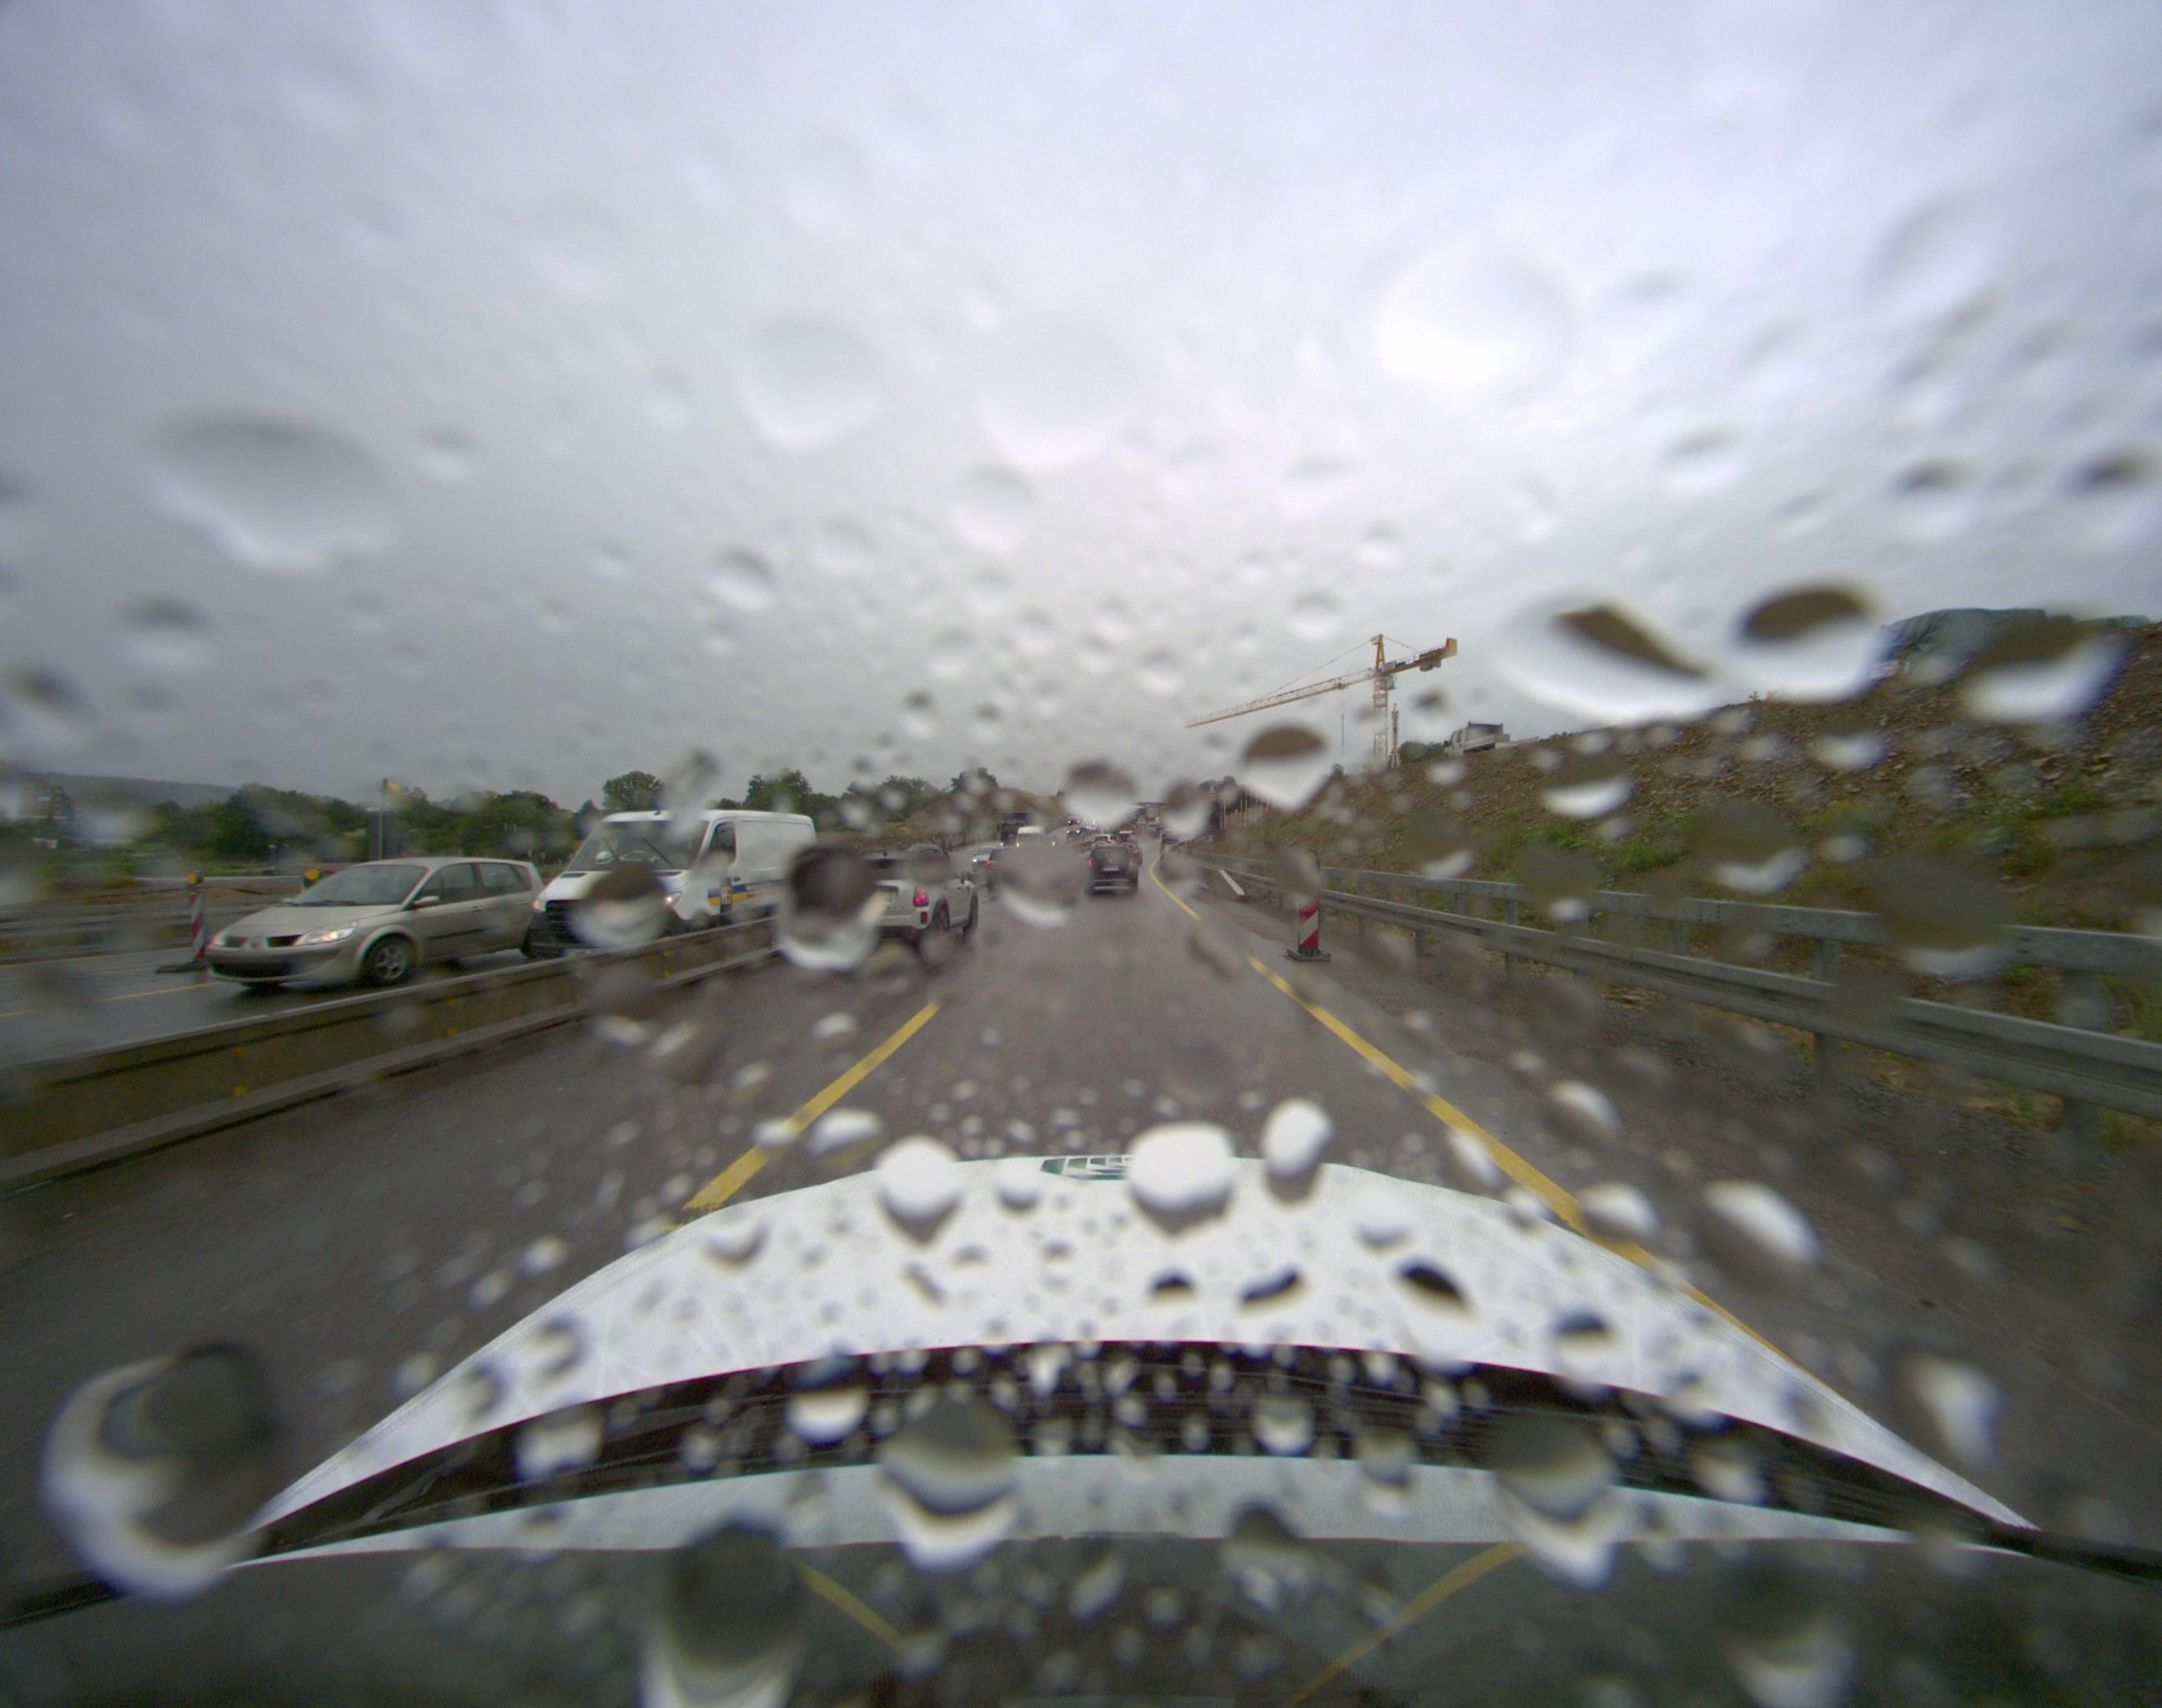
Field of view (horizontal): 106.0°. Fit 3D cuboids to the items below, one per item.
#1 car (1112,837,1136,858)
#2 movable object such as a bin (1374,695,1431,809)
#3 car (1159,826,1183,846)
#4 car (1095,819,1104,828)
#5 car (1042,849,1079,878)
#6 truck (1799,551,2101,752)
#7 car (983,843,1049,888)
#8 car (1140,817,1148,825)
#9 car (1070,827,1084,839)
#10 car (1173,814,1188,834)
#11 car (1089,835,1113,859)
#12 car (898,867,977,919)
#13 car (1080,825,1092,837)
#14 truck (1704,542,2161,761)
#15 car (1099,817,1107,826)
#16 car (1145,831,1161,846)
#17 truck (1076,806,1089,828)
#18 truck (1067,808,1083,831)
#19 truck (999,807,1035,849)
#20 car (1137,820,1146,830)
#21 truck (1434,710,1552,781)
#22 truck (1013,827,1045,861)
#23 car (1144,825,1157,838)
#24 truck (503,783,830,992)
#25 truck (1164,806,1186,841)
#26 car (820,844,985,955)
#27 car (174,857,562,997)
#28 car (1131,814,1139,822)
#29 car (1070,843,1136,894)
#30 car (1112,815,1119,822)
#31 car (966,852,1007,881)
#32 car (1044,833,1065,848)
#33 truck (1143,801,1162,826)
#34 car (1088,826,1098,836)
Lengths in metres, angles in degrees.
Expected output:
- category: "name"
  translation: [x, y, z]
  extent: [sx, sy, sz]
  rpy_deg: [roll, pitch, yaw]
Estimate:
- category: "car"
  translation: [4.616, -0.694, 86.990]
  extent: [1.981, 2.163, 4.152]
  rpy_deg: [-1, -1, 10]
- category: "movable object such as a bin"
  translation: [34.852, -10.752, 88.783]
  extent: [4.682, 10.842, 10.348]
  rpy_deg: [-1, -1, 17]
- category: "car"
  translation: [10.240, -1.999, 92.086]
  extent: [1.978, 2.163, 4.158]
  rpy_deg: [-1, -1, 16]
- category: "car"
  translation: [5.266, -8.677, 229.514]
  extent: [2.229, 2.358, 4.881]
  rpy_deg: [0, 1, 3]
- category: "car"
  translation: [-1.173, 0.564, 48.732]
  extent: [1.987, 1.600, 4.140]
  rpy_deg: [-1, -1, 1]
- category: "truck"
  translation: [24.594, -5.490, 23.588]
  extent: [2.364, 4.218, 5.981]
  rpy_deg: [-1, -1, 2]
- category: "car"
  translation: [-2.431, 0.437, 31.420]
  extent: [1.985, 1.600, 4.143]
  rpy_deg: [-1, -1, 3]
- category: "car"
  translation: [18.092, -9.505, 235.080]
  extent: [1.986, 2.014, 4.001]
  rpy_deg: [-1, -1, 1]
- category: "car"
  translation: [-0.497, -3.010, 117.841]
  extent: [1.730, 1.684, 5.556]
  rpy_deg: [0, 1, 2]
- category: "car"
  translation: [14.109, -4.181, 114.922]
  extent: [1.983, 2.484, 4.992]
  rpy_deg: [-1, -1, 7]
- category: "car"
  translation: [1.755, -0.643, 71.205]
  extent: [1.986, 2.013, 3.895]
  rpy_deg: [-1, 0, 1]
- category: "car"
  translation: [-4.812, 1.257, 27.949]
  extent: [1.780, 1.538, 4.314]
  rpy_deg: [-1, 0, 2]
- category: "car"
  translation: [0.830, -3.961, 137.946]
  extent: [1.778, 1.810, 4.501]
  rpy_deg: [-1, -1, 2]
- category: "truck"
  translation: [19.907, -4.291, 19.613]
  extent: [3.380, 2.875, 8.968]
  rpy_deg: [-1, -1, 4]
- category: "car"
  translation: [6.545, -9.655, 243.441]
  extent: [2.207, 2.370, 4.668]
  rpy_deg: [0, 1, 3]
- category: "car"
  translation: [9.514, -2.023, 107.248]
  extent: [1.985, 1.761, 3.817]
  rpy_deg: [-1, -1, 3]
- category: "truck"
  translation: [0.431, -9.740, 216.081]
  extent: [3.128, 5.417, 8.531]
  rpy_deg: [0, 1, 3]
- category: "truck"
  translation: [-1.225, -7.756, 183.171]
  extent: [3.070, 4.919, 8.572]
  rpy_deg: [0, 1, 3]
- category: "truck"
  translation: [-6.370, -2.593, 82.570]
  extent: [2.632, 3.970, 9.216]
  rpy_deg: [-1, 1, 1]
- category: "car"
  translation: [13.296, -6.367, 179.356]
  extent: [1.842, 1.894, 4.024]
  rpy_deg: [-1, -1, 3]
- category: "truck"
  translation: [20.885, -5.411, 41.763]
  extent: [2.635, 2.555, 6.986]
  rpy_deg: [-1, -1, 2]
- category: "truck"
  translation: [-4.314, -0.854, 68.363]
  extent: [2.140, 2.713, 6.018]
  rpy_deg: [-1, 1, 1]
- category: "car"
  translation: [12.140, -3.930, 142.074]
  extent: [1.985, 2.163, 4.143]
  rpy_deg: [-1, -1, 3]
- category: "truck"
  translation: [-6.109, 0.468, 13.158]
  extent: [2.071, 2.576, 5.964]
  rpy_deg: [-1, -1, 2]
- category: "truck"
  translation: [15.792, -5.034, 136.576]
  extent: [3.082, 5.426, 9.468]
  rpy_deg: [-1, -1, 10]
- category: "car"
  translation: [-2.876, 0.679, 14.118]
  extent: [1.809, 1.600, 4.309]
  rpy_deg: [-1, 0, 1]
- category: "car"
  translation: [-9.449, 0.844, 11.333]
  extent: [1.781, 1.546, 4.002]
  rpy_deg: [-1, 0, 2]
- category: "car"
  translation: [14.500, -9.813, 220.682]
  extent: [1.986, 2.013, 4.002]
  rpy_deg: [-2, 1, 2]
- category: "car"
  translation: [0.820, 0.485, 28.007]
  extent: [2.073, 1.600, 4.143]
  rpy_deg: [-1, -1, 3]
- category: "car"
  translation: [10.964, -11.232, 257.162]
  extent: [1.986, 2.014, 4.001]
  rpy_deg: [-1, -1, 2]
- category: "car"
  translation: [-5.357, 0.670, 46.522]
  extent: [1.670, 1.524, 4.347]
  rpy_deg: [-1, 0, 2]
- category: "car"
  translation: [-2.748, -1.388, 84.407]
  extent: [1.862, 1.471, 4.672]
  rpy_deg: [-1, 1, 1]
- category: "truck"
  translation: [17.150, -9.729, 196.853]
  extent: [3.790, 5.043, 12.925]
  rpy_deg: [-1, -1, 2]
- category: "car"
  translation: [2.233, -4.306, 152.699]
  extent: [1.778, 1.810, 4.501]
  rpy_deg: [-1, -1, 2]
